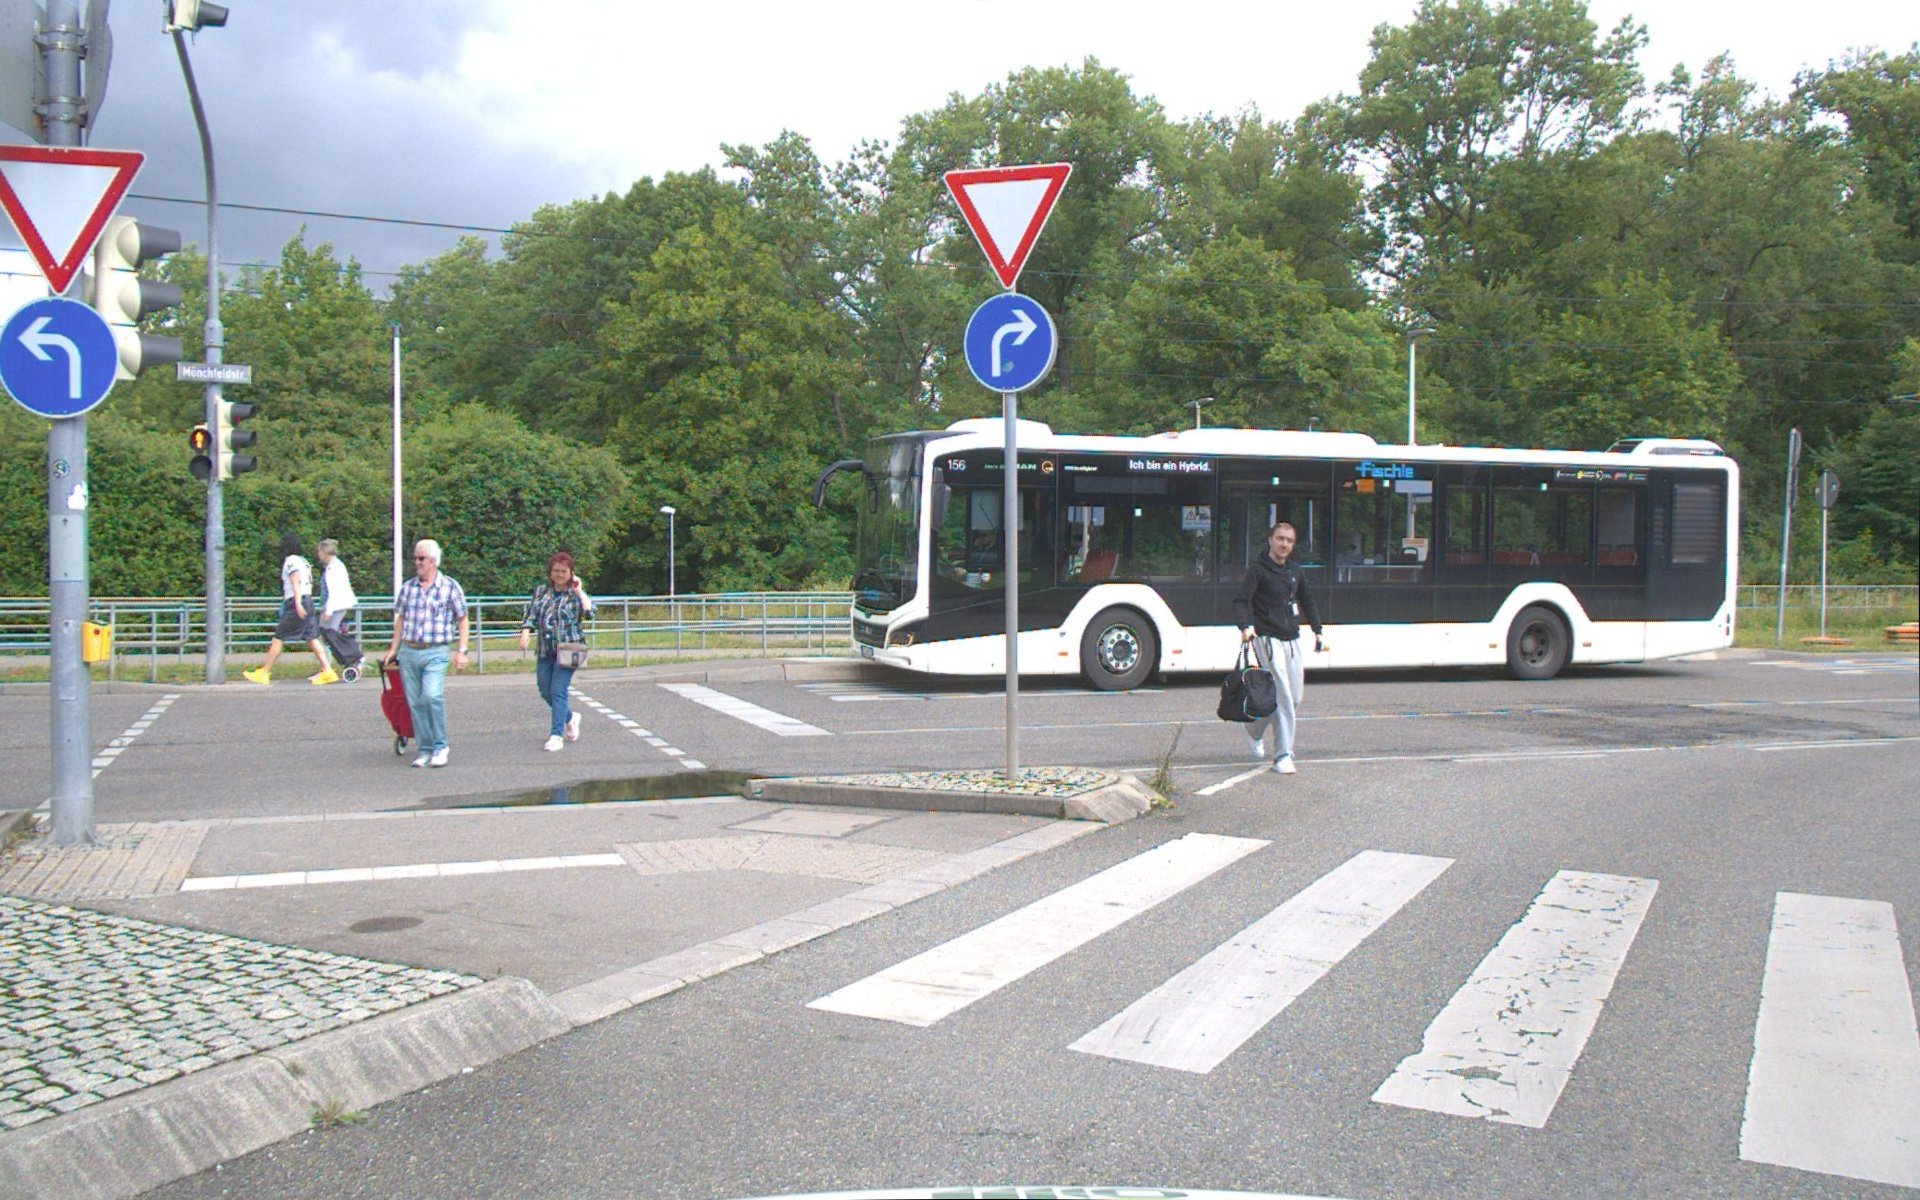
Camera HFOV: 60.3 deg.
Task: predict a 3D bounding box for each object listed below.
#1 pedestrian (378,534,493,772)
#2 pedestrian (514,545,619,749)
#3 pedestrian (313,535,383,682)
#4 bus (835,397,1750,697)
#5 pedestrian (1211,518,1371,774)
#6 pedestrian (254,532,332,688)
[{"bbox_3d":[-3.824,0.362,12.039,0.711,1.662,0.694,-1,0,-24],"label":"pedestrian"},{"bbox_3d":[-3.148,0.365,13.292,0.676,1.594,0.732,0,0,-1],"label":"pedestrian"},{"bbox_3d":[-7.634,0.096,20.650,0.708,1.778,0.954,0,0,-14],"label":"pedestrian"},{"bbox_3d":[4.508,-0.650,21.272,11.980,3.259,2.660,-1,1,-20],"label":"bus"},{"bbox_3d":[2.384,0.315,12.036,0.935,1.777,1.062,0,0,-1],"label":"pedestrian"},{"bbox_3d":[-7.787,0.107,19.342,0.708,1.778,0.954,0,0,-14],"label":"pedestrian"}]
